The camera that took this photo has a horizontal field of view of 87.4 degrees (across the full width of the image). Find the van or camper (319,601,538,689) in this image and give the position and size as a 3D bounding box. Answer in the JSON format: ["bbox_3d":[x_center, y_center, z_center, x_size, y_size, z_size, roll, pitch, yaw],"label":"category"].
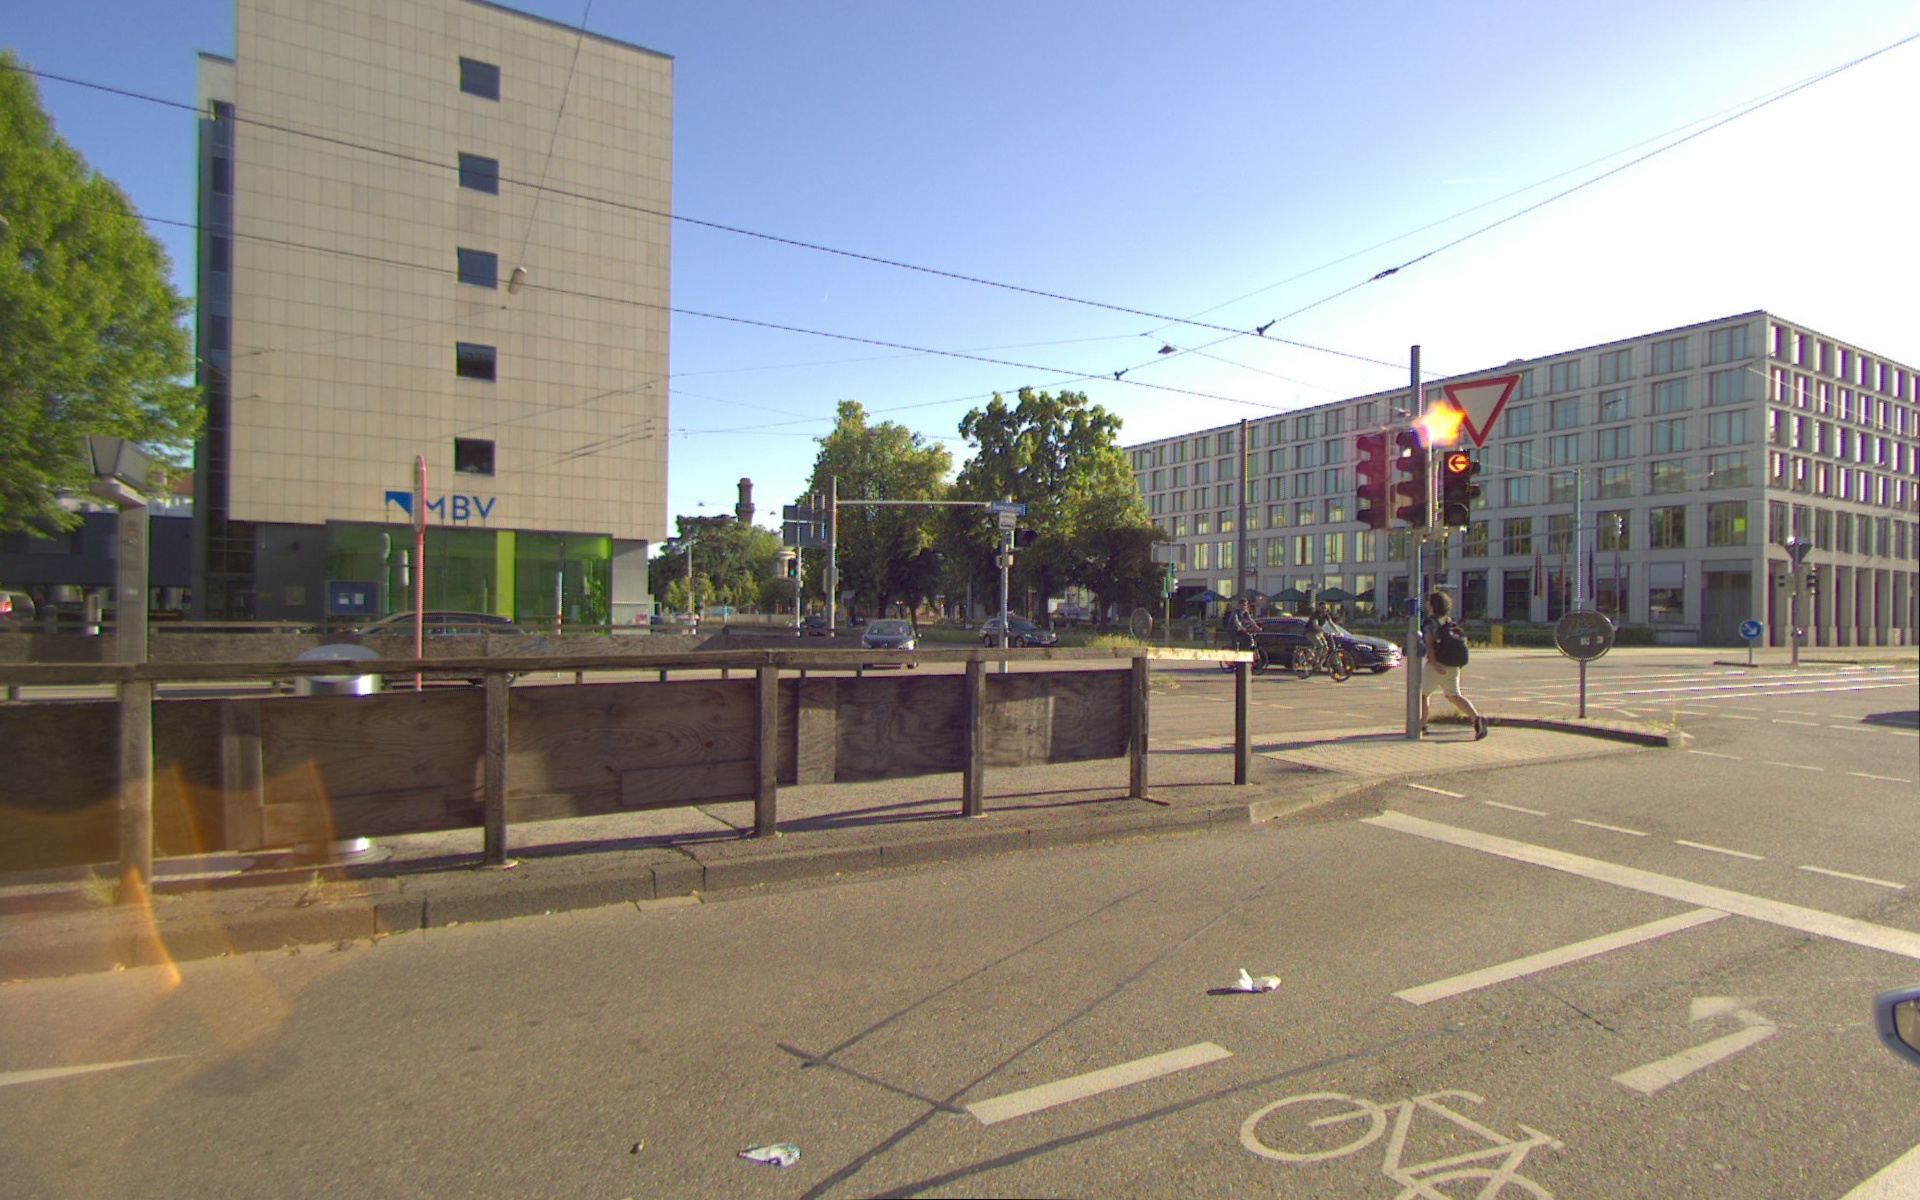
[{"bbox_3d":[-9.962,0.879,18.902,3.491,1.522,1.586,3,-4,-34],"label":"van or camper"}]

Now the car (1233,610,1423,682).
[{"bbox_3d":[9.938,1.167,27.558,1.910,1.679,4.878,0,1,-29],"label":"car"}]

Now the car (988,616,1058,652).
[{"bbox_3d":[2.925,1.574,47.220,1.505,1.526,3.511,1,0,-32],"label":"car"}]

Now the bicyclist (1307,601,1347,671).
[{"bbox_3d":[8.486,0.825,23.239,0.586,1.603,0.617,1,-1,-24],"label":"bicyclist"}]

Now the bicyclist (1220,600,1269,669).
[{"bbox_3d":[7.250,0.882,25.627,0.833,1.717,0.887,1,-1,-24],"label":"bicyclist"}]

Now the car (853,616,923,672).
[{"bbox_3d":[-2.165,1.295,31.193,1.745,1.615,4.287,0,-1,1],"label":"car"}]

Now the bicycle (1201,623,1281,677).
[{"bbox_3d":[7.184,1.252,25.769,0.874,1.305,2.042,1,-1,-24],"label":"bicycle"}]

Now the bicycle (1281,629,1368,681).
[{"bbox_3d":[8.451,1.259,23.362,0.779,1.137,1.918,1,-1,-24],"label":"bicycle"}]

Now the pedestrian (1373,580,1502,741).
[{"bbox_3d":[5.506,0.670,11.590,1.027,1.743,1.030,1,-1,-41],"label":"pedestrian"}]
